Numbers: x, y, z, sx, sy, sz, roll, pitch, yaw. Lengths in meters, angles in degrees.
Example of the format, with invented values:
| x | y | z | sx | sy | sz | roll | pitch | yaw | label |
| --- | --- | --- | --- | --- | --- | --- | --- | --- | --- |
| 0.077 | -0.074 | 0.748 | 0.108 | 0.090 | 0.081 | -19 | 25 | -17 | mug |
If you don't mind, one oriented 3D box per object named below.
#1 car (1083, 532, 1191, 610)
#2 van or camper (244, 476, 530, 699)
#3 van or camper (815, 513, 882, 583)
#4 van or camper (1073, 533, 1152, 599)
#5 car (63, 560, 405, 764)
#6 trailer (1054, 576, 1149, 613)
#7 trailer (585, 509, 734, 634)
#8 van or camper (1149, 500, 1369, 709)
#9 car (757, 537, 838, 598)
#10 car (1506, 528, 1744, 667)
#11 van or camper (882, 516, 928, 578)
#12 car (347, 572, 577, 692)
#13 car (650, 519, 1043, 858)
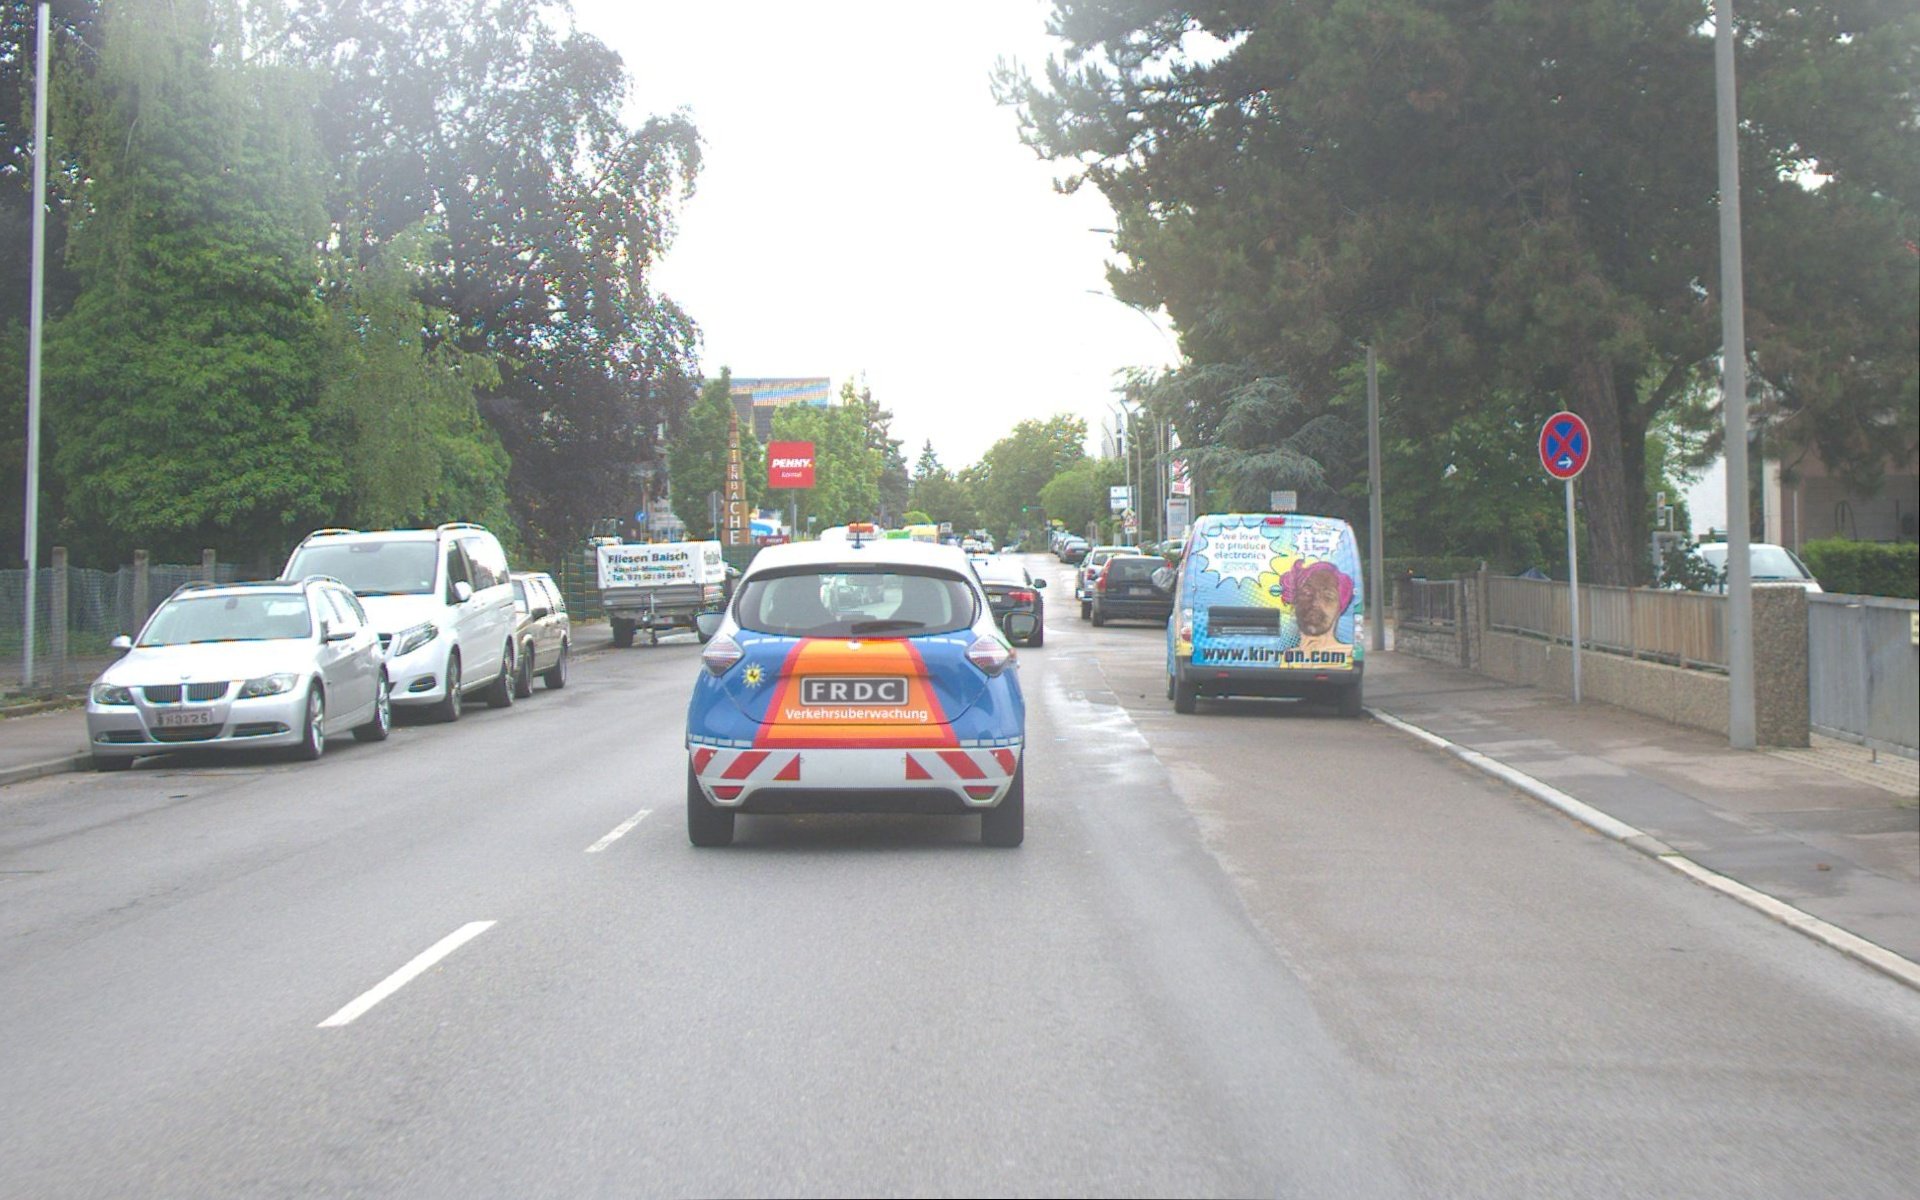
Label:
| x | y | z | sx | sy | sz | roll | pitch | yaw | label |
| --- | --- | --- | --- | --- | --- | --- | --- | --- | --- |
| 3.582 | -0.607 | 70.290 | 1.993 | 1.531 | 4.000 | 0 | 1 | 0 | car |
| -5.622 | -0.065 | 34.383 | 1.890 | 2.007 | 5.096 | 2 | -1 | 1 | van or camper |
| -3.799 | -1.771 | 117.547 | 2.161 | 2.345 | 4.334 | 0 | 1 | 0 | van or camper |
| 4.198 | -0.960 | 94.970 | 1.993 | 1.778 | 4.000 | 0 | 1 | 0 | van or camper |
| -5.813 | 0.513 | 28.010 | 1.742 | 1.475 | 4.183 | -2 | -1 | 2 | car |
| 3.062 | -0.118 | 75.025 | 1.938 | 0.751 | 2.859 | 0 | 1 | 0 | trailer |
| -5.258 | -0.464 | 60.695 | 2.220 | 2.007 | 4.436 | 2 | -1 | -1 | trailer |
| 2.806 | 0.008 | 33.013 | 1.754 | 1.876 | 4.000 | 0 | 1 | 0 | van or camper |
| -4.359 | -0.886 | 92.615 | 1.993 | 1.590 | 4.000 | 0 | 1 | 0 | car |
| 7.759 | 0.009 | 40.458 | 1.993 | 1.481 | 4.000 | 2 | -1 | 0 | car |
| -2.474 | -2.402 | 156.642 | 1.993 | 2.765 | 5.441 | 0 | 1 | 0 | van or camper |
| -5.749 | 0.342 | 40.123 | 1.993 | 1.284 | 4.000 | 0 | 1 | 2 | car |
| -0.586 | 0.396 | 18.637 | 1.888 | 1.626 | 4.000 | 0 | 1 | -1 | car |
